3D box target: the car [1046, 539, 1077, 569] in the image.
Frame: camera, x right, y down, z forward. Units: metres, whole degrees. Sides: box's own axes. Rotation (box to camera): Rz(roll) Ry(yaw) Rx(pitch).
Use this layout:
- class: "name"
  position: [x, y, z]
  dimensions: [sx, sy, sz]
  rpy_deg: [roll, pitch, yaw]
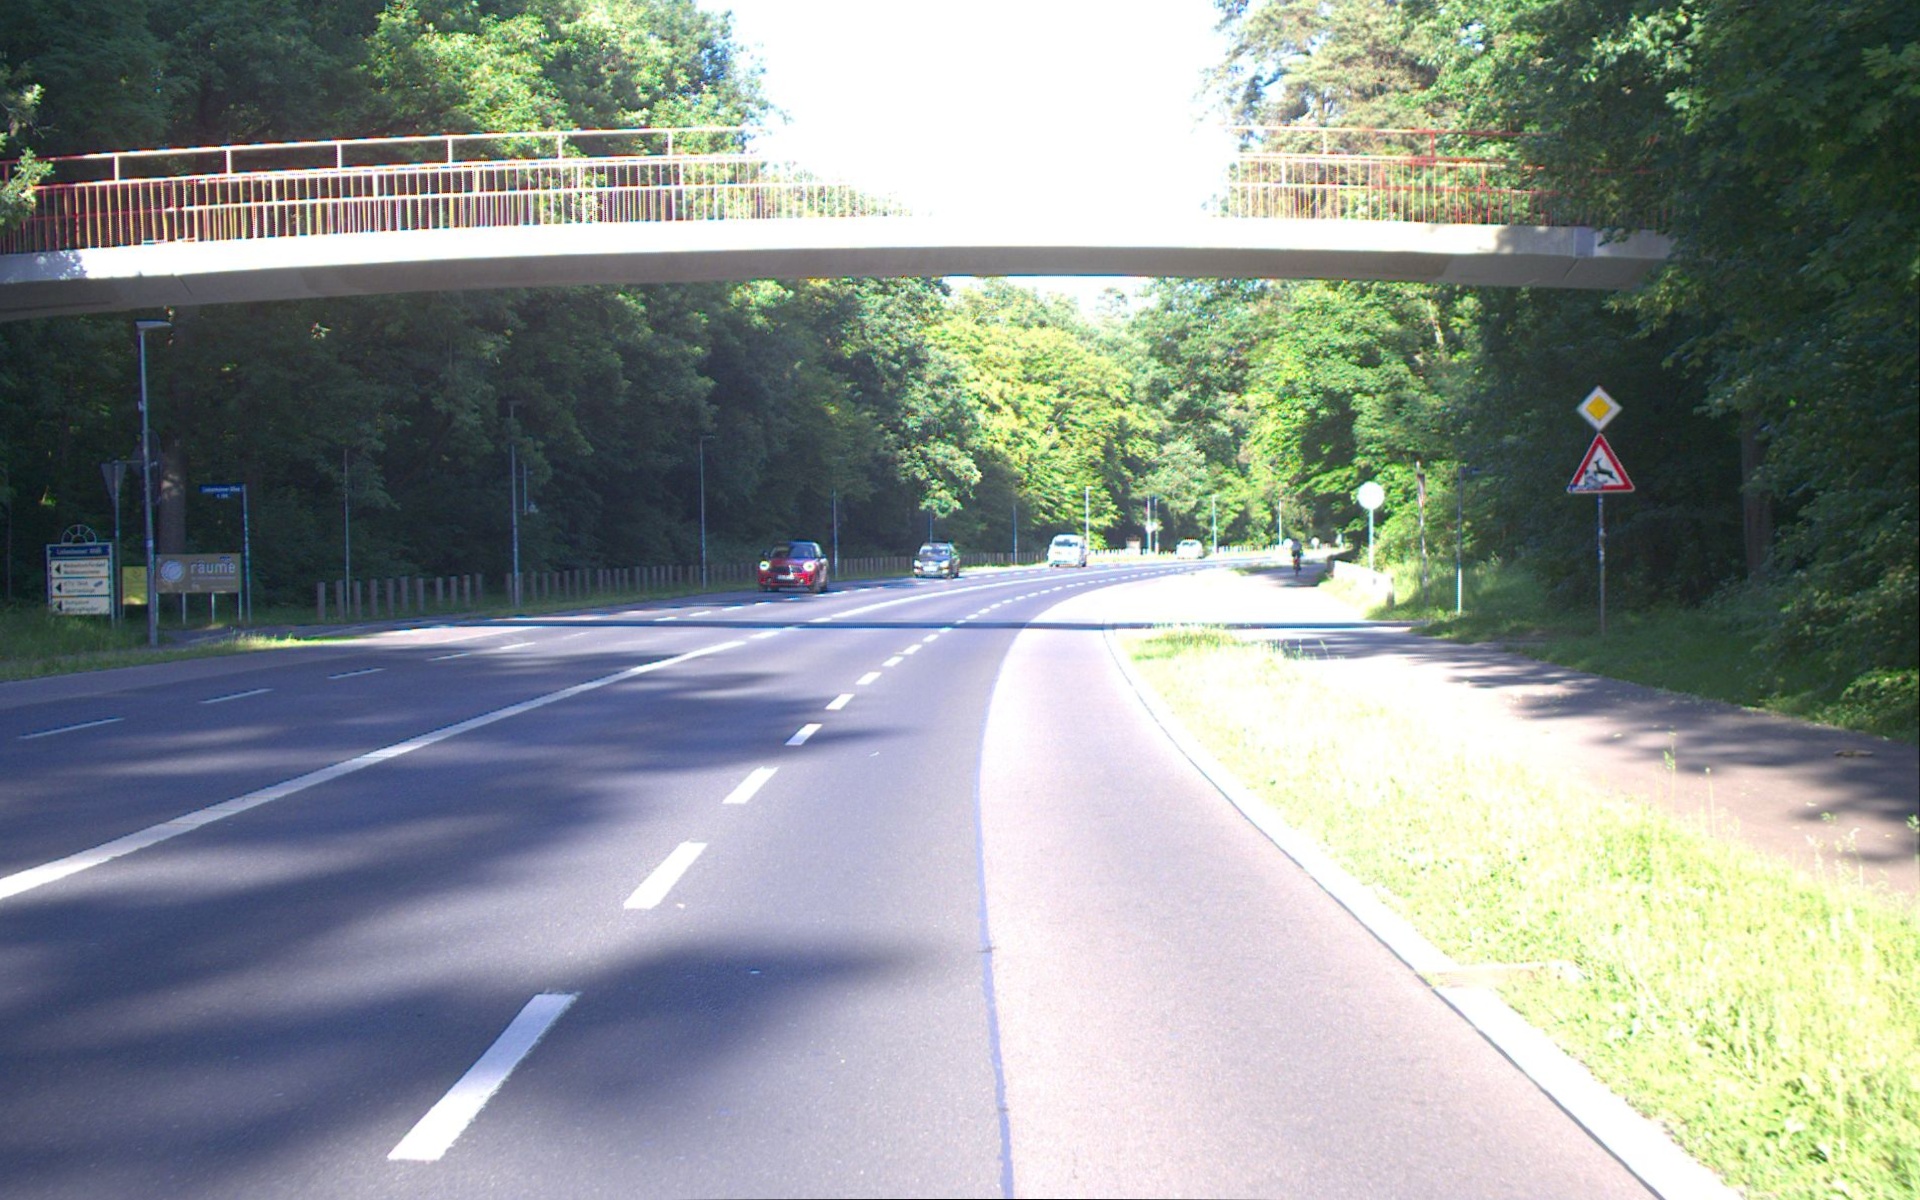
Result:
- class: "car"
  position: [5.863, -2.656, 197.909]
  dimensions: [1.705, 1.703, 4.000]
  rpy_deg: [0, 1, 2]

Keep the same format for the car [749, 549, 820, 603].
- class: "car"
  position: [-5.400, -0.756, 105.995]
  dimensions: [1.762, 1.577, 4.168]
  rpy_deg: [1, 1, 3]

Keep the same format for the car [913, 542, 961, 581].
- class: "car"
  position: [-0.950, -1.642, 145.706]
  dimensions: [1.722, 1.568, 4.177]
  rpy_deg: [1, 1, 3]
